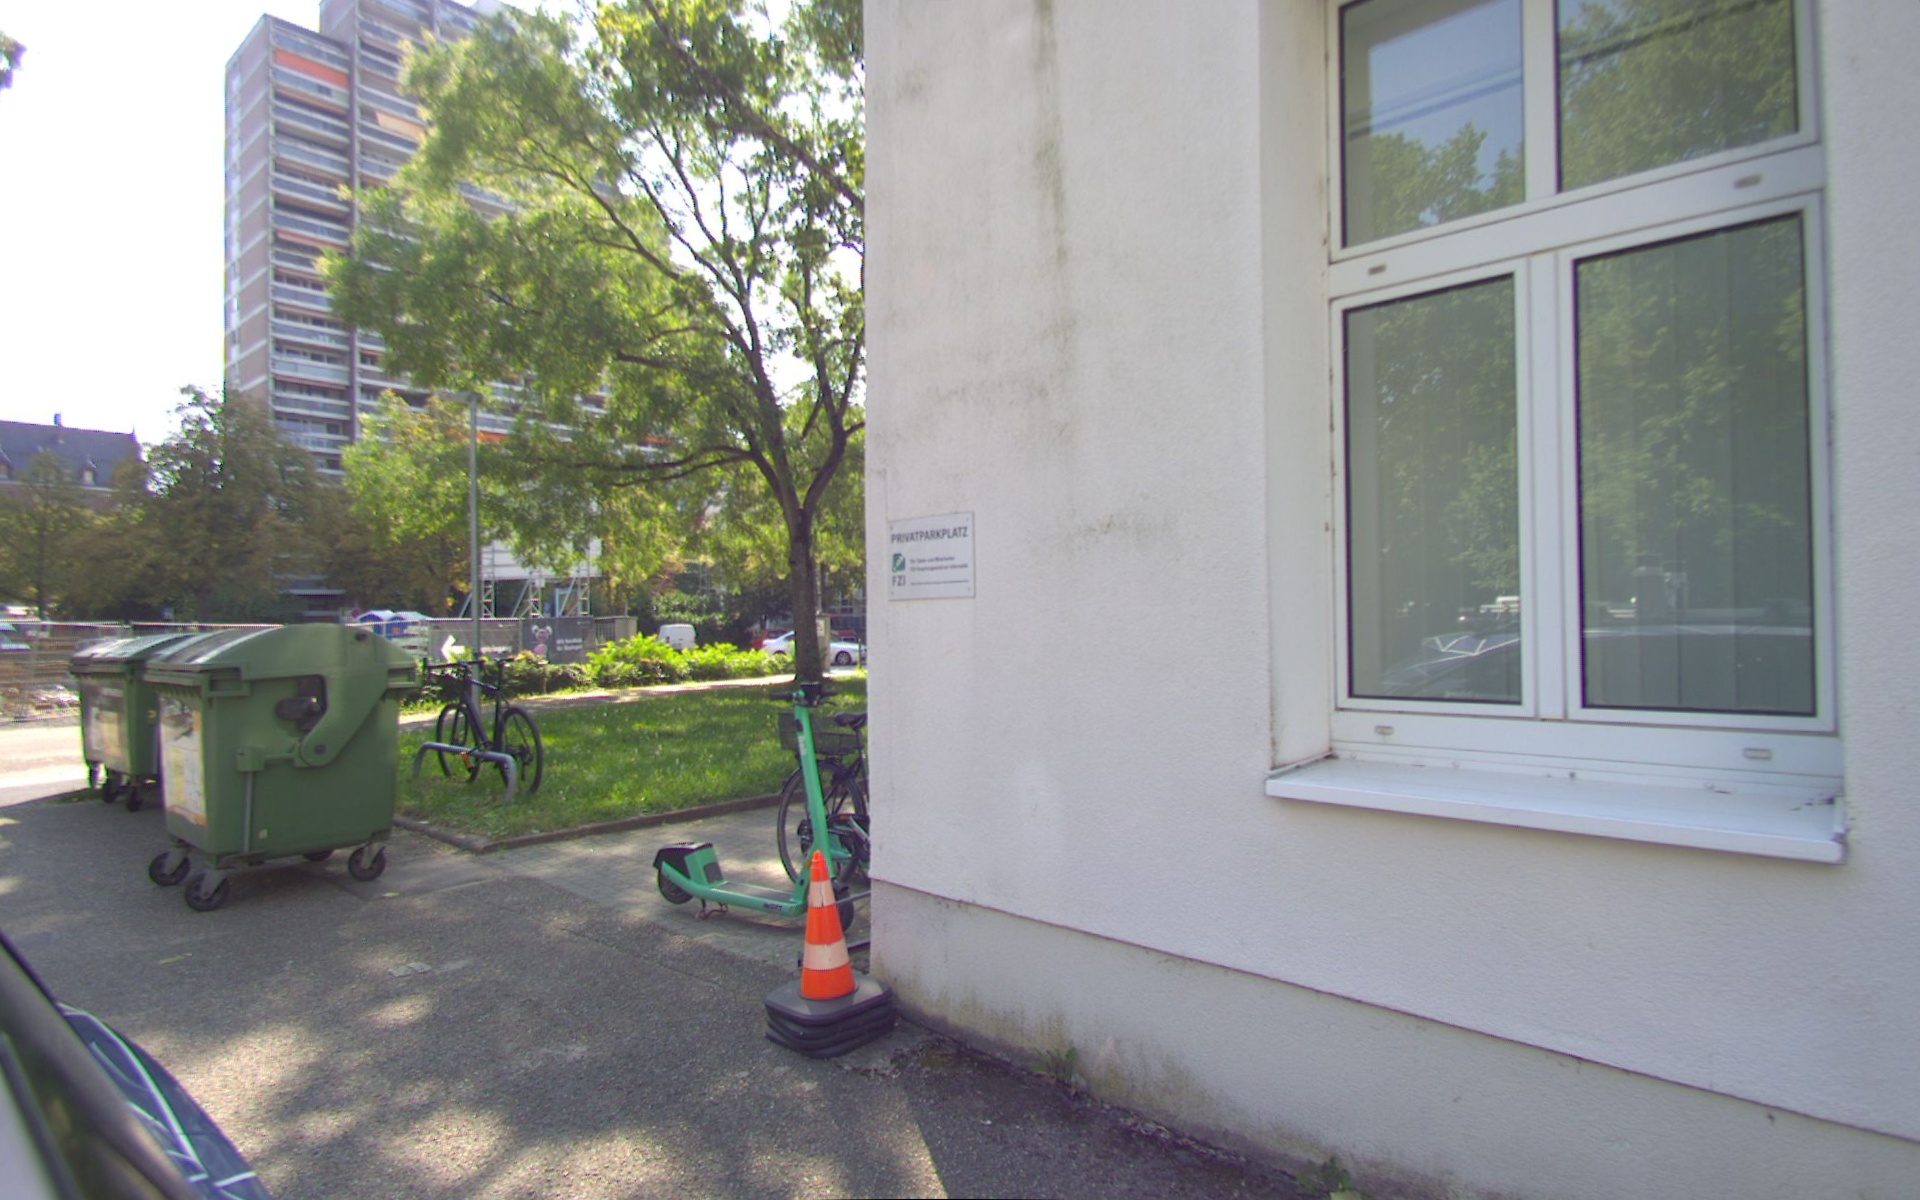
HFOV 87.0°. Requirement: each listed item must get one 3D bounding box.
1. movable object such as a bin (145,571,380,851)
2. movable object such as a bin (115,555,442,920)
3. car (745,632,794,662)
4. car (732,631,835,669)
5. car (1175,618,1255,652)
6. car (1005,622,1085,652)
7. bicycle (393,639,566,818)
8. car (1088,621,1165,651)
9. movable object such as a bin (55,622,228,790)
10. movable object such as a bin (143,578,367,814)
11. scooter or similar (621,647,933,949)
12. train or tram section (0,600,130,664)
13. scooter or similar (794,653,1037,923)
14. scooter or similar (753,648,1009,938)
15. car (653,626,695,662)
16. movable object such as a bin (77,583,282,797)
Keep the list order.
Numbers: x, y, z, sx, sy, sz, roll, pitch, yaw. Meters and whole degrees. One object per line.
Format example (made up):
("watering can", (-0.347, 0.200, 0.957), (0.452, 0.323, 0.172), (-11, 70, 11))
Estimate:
("movable object such as a bin", (-4.922, 0.689, 7.122), (1.167, 1.718, 1.396), (0, -1, -44))
("movable object such as a bin", (-3.812, 0.659, 5.666), (1.375, 1.718, 1.169), (-1, -1, 39))
("car", (-10.734, 2.598, 56.824), (1.833, 1.555, 4.013), (-1, -1, -23))
("car", (-7.600, 2.150, 43.681), (3.964, 1.555, 1.856), (-1, -2, 16))
("car", (12.352, 1.675, 49.319), (1.833, 1.555, 4.013), (-1, -1, -20))
("car", (4.247, 1.857, 50.896), (1.767, 1.431, 4.009), (0, -2, -37))
("bicycle", (-3.808, 0.930, 7.933), (2.007, 1.222, 0.471), (-1, -1, 41))
("car", (8.397, 1.811, 51.355), (1.766, 1.431, 4.013), (0, -1, -27))
("movable object such as a bin", (-8.030, 0.982, 9.944), (1.104, 1.509, 1.026), (-1, -1, 31))
("movable object such as a bin", (-5.769, 0.713, 8.285), (1.375, 1.718, 1.169), (-1, -1, 39))
("scooter or similar", (-0.889, 0.867, 4.800), (1.486, 1.272, 0.383), (-1, -1, 23))
("train or tram section", (-56.787, 1.971, 60.832), (14.453, 3.599, 2.743), (-1, -2, 15))
("scooter or similar", (-0.287, 0.929, 5.459), (1.495, 1.249, 0.321), (-1, -1, 41))
("scooter or similar", (-0.443, 0.880, 5.073), (1.495, 1.240, 0.321), (-1, -1, 41))
("car", (-16.405, 2.484, 57.908), (1.833, 1.918, 4.013), (-1, -1, -23))
("movable object such as a bin", (-6.971, 0.736, 9.039), (1.375, 1.718, 1.169), (-1, -1, 39))
